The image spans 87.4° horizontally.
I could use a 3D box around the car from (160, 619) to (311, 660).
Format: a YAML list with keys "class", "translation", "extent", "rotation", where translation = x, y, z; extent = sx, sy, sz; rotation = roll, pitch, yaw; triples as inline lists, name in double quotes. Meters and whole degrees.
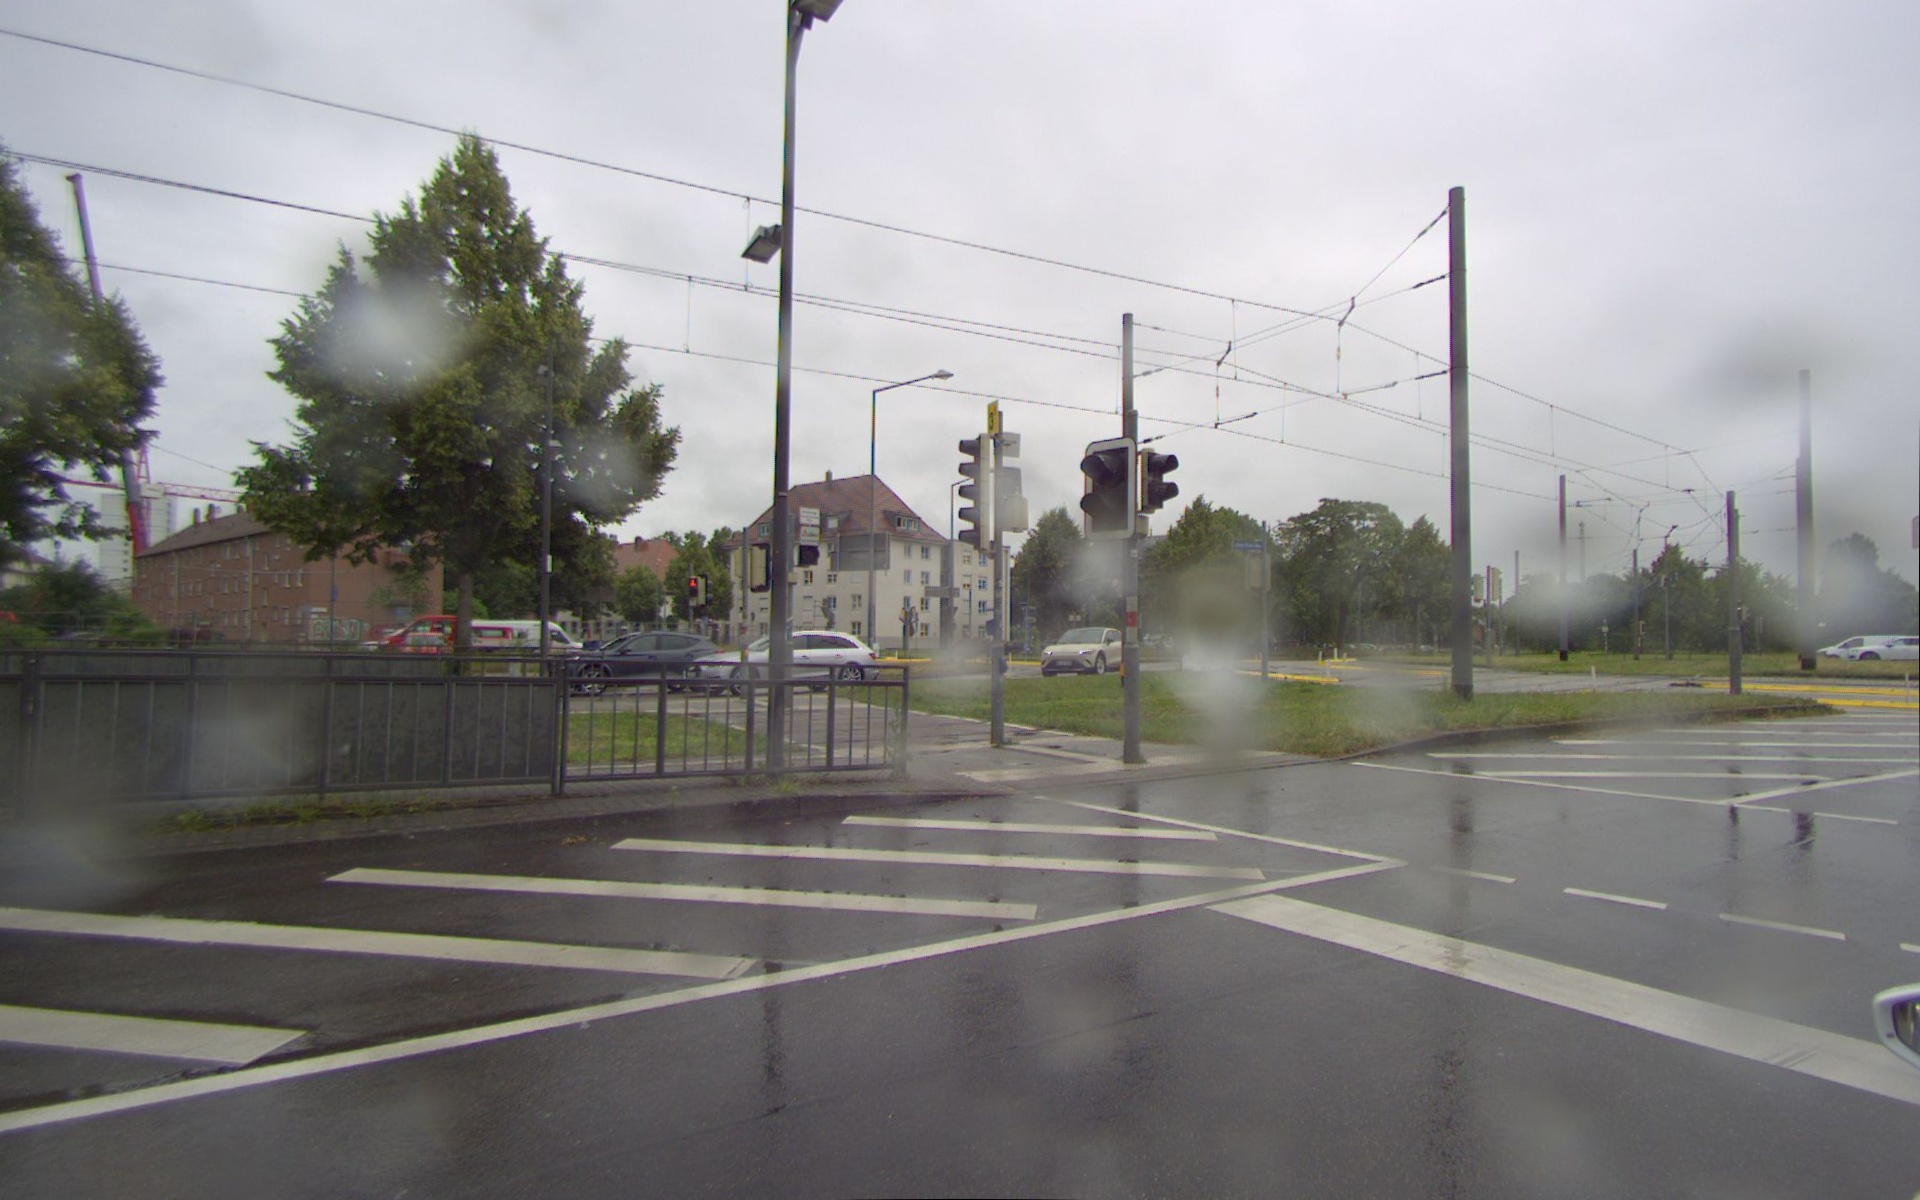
- class: "car"
  translation: [-39.413, 2.128, 54.789]
  extent: [2.325, 2.040, 6.388]
  rotation: [2, 0, 44]

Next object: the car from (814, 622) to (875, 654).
- class: "car"
  translation: [-9.202, 2.990, 80.109]
  extent: [4.765, 2.358, 1.992]
  rotation: [2, 0, 38]

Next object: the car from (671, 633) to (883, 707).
- class: "car"
  translation: [-4.220, 1.581, 23.601]
  extent: [4.588, 1.506, 1.810]
  rotation: [2, 0, -40]

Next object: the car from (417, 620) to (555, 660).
- class: "car"
  translation: [-24.842, 2.090, 52.933]
  extent: [6.329, 2.040, 2.347]
  rotation: [1, -2, -20]

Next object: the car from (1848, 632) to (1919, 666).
- class: "car"
  translation: [54.089, 2.818, 57.443]
  extent: [1.766, 1.767, 4.803]
  rotation: [2, 0, -43]

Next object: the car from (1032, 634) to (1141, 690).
- class: "car"
  translation: [4.021, 1.868, 31.300]
  extent: [1.819, 1.506, 4.217]
  rotation: [2, 0, 31]

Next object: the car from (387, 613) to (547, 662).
- class: "car"
  translation: [-22.625, 1.739, 46.468]
  extent: [6.329, 2.040, 2.346]
  rotation: [2, 0, -20]

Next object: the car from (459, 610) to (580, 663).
- class: "car"
  translation: [-26.109, 2.170, 59.873]
  extent: [6.329, 2.978, 2.346]
  rotation: [2, 0, -20]

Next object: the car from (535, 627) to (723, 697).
- class: "car"
  translation: [-8.042, 1.470, 24.561]
  extent: [3.967, 1.506, 1.810]
  rotation: [2, 0, -40]

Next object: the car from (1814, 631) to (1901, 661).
- class: "car"
  translation: [55.502, 2.822, 62.202]
  extent: [3.791, 1.642, 1.539]
  rotation: [2, 0, 36]
